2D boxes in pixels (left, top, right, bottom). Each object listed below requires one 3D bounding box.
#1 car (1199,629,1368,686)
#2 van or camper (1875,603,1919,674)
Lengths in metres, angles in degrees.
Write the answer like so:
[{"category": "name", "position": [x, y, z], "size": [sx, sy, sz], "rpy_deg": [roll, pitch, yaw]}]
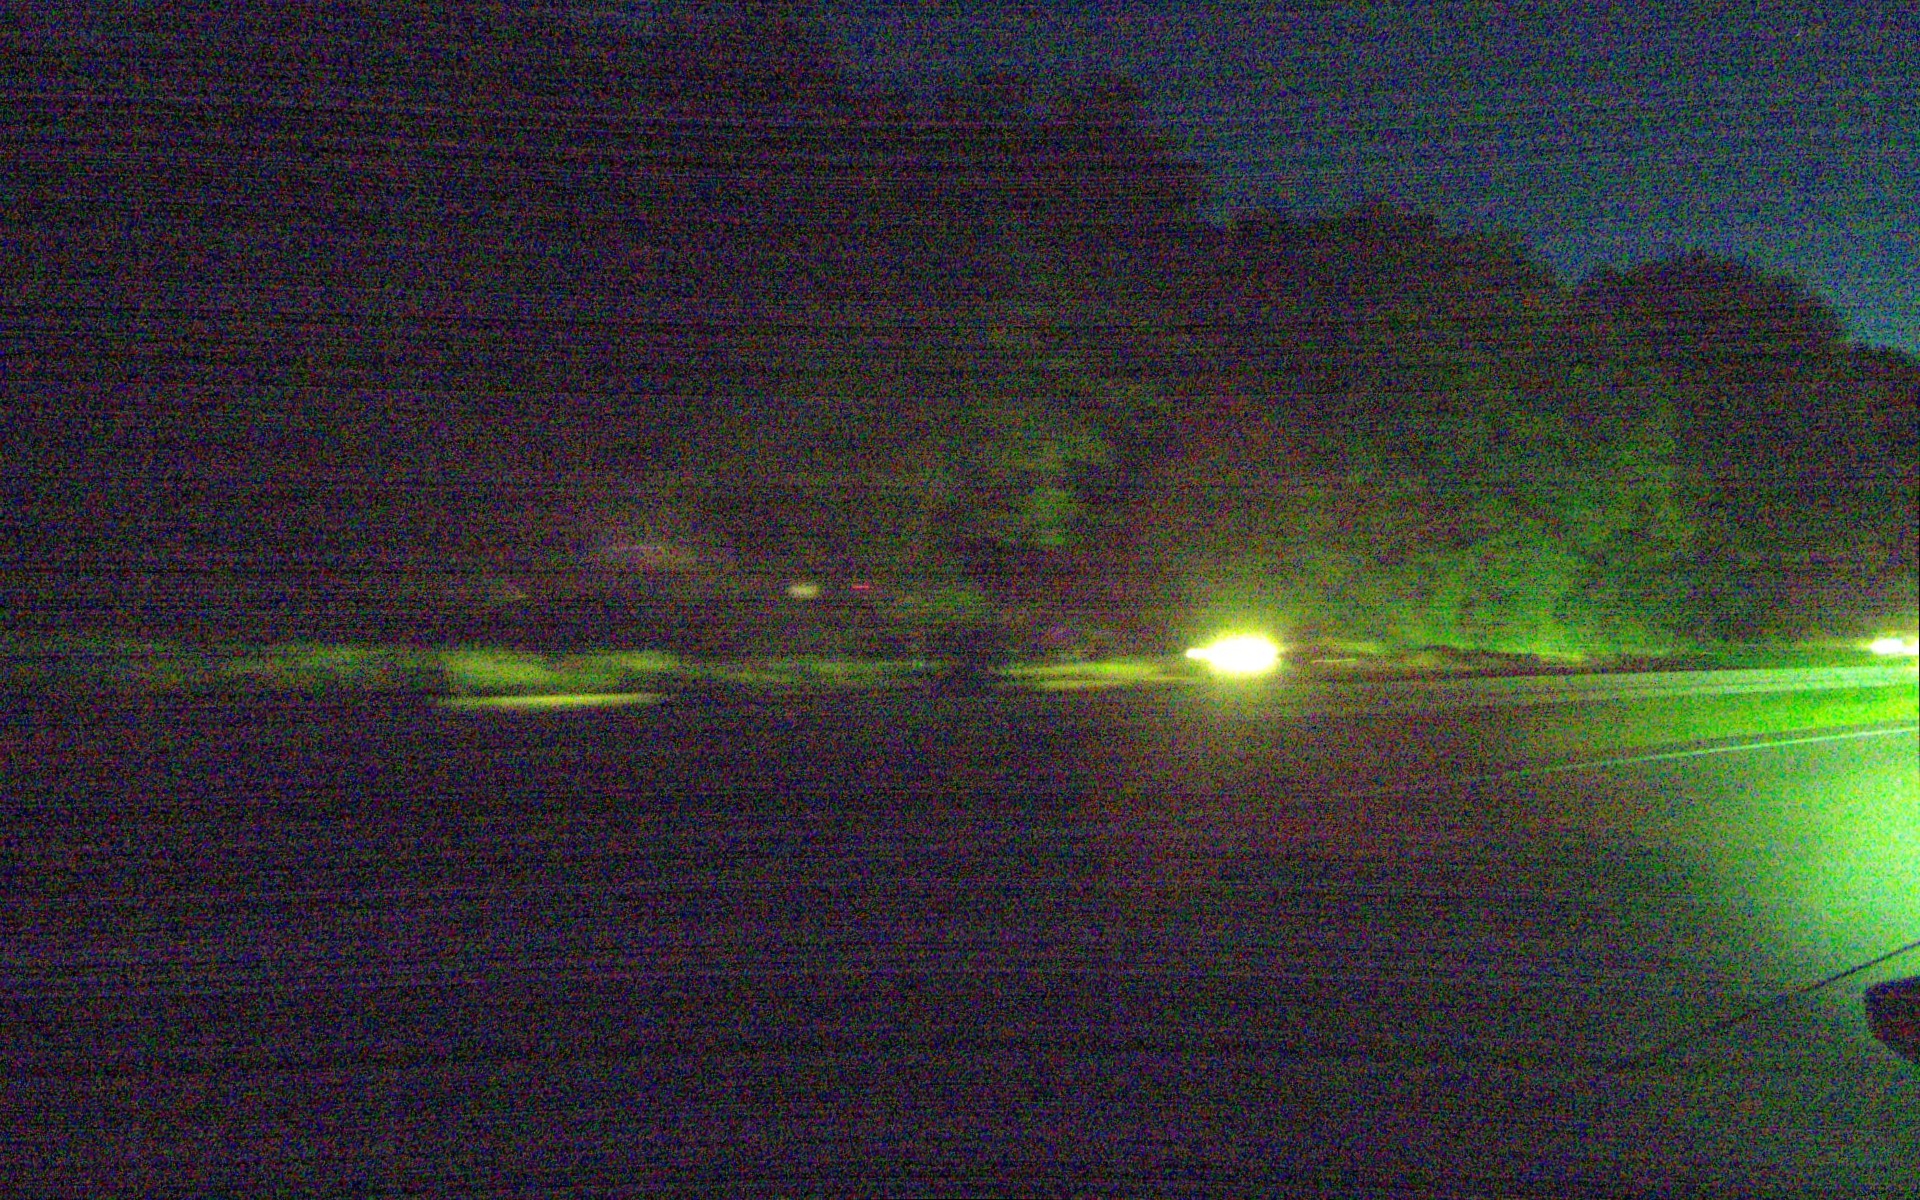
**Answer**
[{"category": "car", "position": [9.004, 1.551, 27.938], "size": [4.413, 1.461, 1.817], "rpy_deg": [0, -2, -24]}, {"category": "van or camper", "position": [39.389, 1.512, 39.933], "size": [7.575, 2.652, 2.284], "rpy_deg": [1, -2, -31]}]
